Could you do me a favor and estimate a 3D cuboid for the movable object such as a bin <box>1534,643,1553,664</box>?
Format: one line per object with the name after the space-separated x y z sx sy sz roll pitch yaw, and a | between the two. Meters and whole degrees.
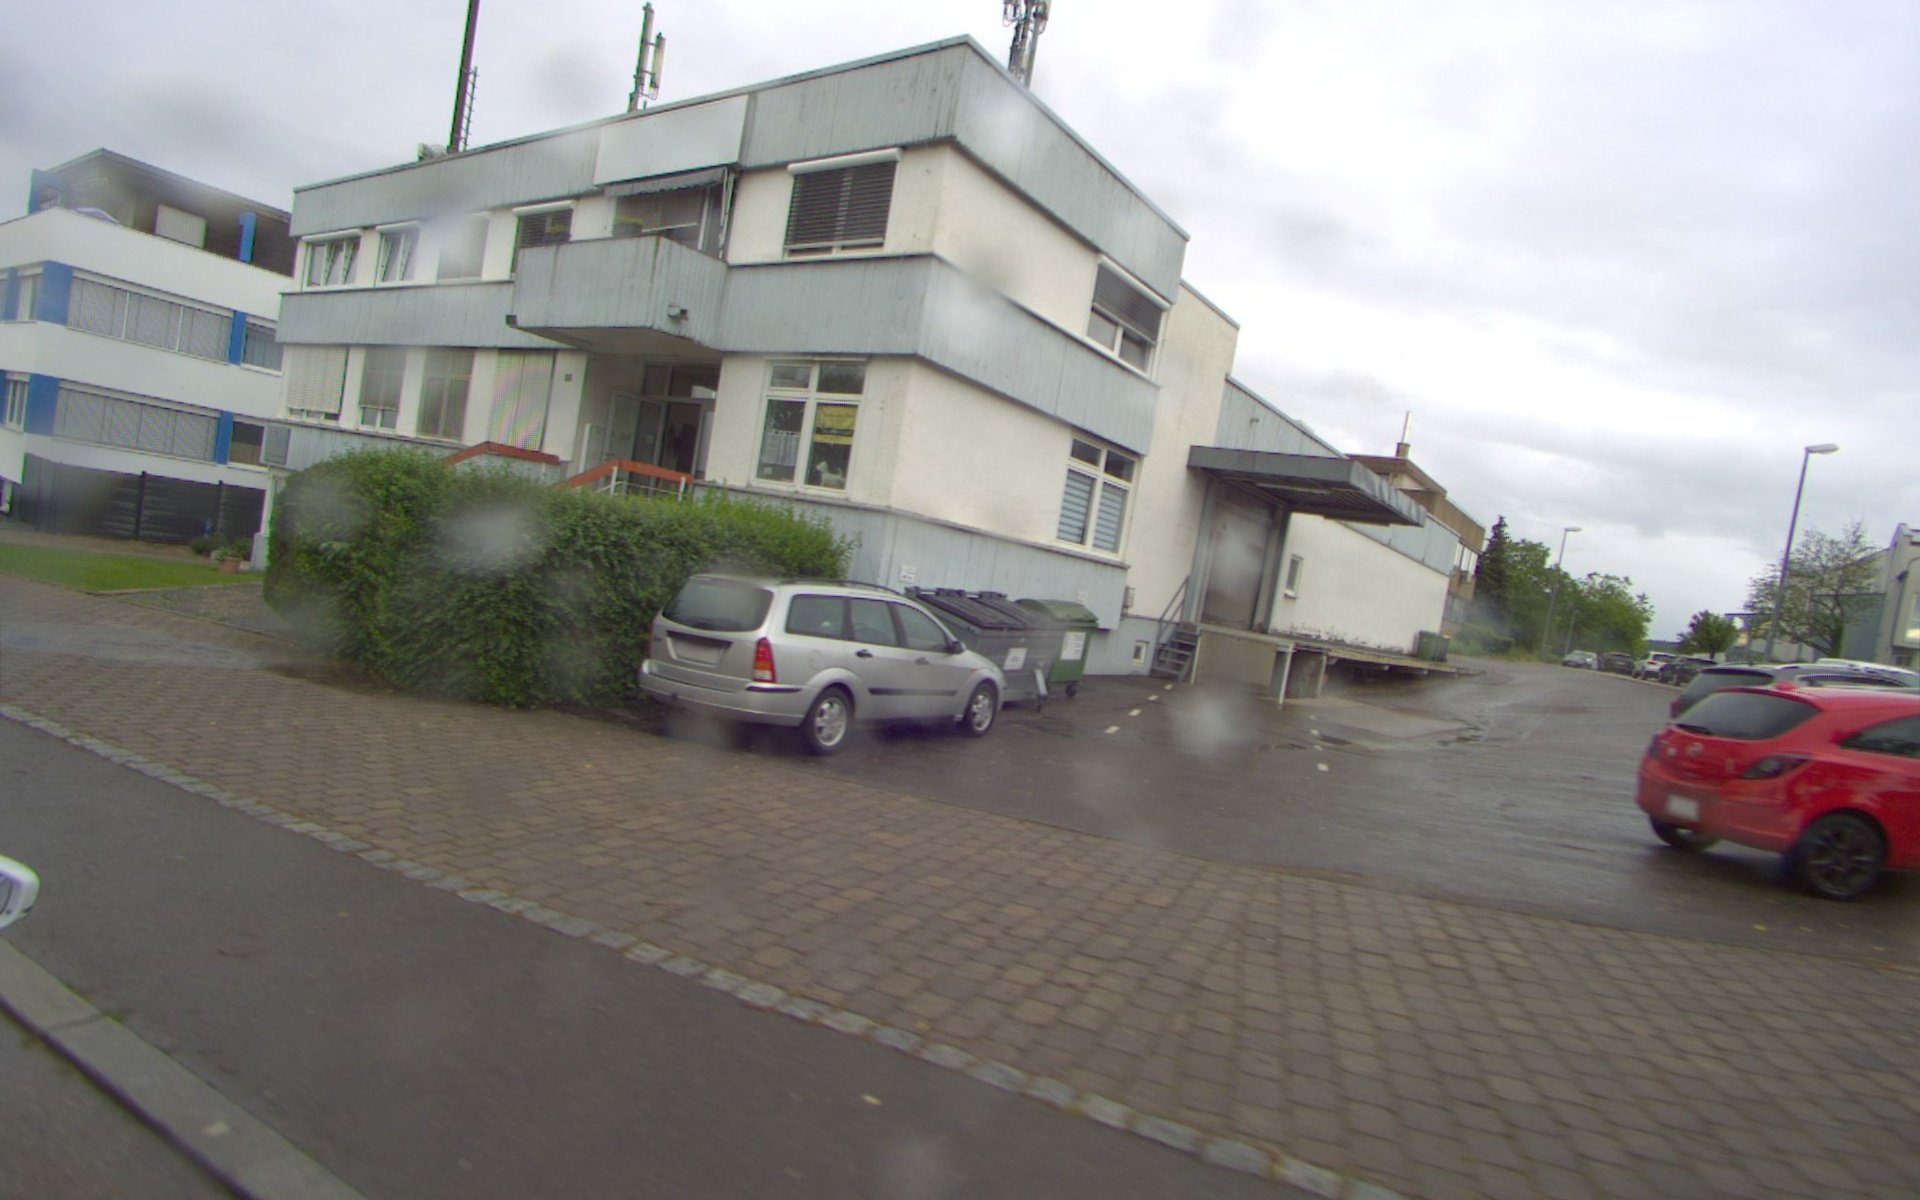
35.925 3.306 61.926 0.642 1.220 0.927 6 1 14 | movable object such as a bin

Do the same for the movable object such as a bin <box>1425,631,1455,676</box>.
18.983 2.125 39.805 0.535 1.683 1.982 7 1 37 | movable object such as a bin

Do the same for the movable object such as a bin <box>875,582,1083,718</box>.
0.295 0.653 13.676 1.706 1.523 2.264 7 2 37 | movable object such as a bin

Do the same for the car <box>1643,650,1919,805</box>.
12.348 1.779 14.060 4.378 1.820 1.858 4 -1 -5 | car

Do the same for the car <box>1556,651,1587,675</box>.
56.629 5.813 93.157 2.157 1.899 3.992 8 1 30 | car

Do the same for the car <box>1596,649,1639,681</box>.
46.643 4.634 71.418 2.157 1.899 3.992 8 1 30 | car

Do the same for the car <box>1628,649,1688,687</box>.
39.972 3.851 57.694 1.870 1.764 3.994 7 2 24 | car

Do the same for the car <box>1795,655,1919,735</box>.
26.872 2.770 29.522 1.919 1.994 4.158 9 1 17 | car

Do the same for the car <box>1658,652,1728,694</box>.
37.755 3.719 51.911 1.897 1.722 3.995 7 2 23 | car

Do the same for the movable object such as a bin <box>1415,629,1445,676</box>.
17.879 1.999 38.285 0.535 1.683 1.738 7 1 37 | movable object such as a bin

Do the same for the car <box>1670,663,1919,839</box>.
10.752 1.601 10.981 4.741 1.605 1.857 1 1 -3 | car

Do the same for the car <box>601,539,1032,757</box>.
-1.173 0.481 10.191 1.828 1.604 4.315 6 0 33 | car

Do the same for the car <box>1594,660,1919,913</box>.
7.820 1.484 8.008 4.244 1.605 1.858 4 0 1 | car

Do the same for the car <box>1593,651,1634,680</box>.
49.092 4.926 75.673 2.157 1.899 3.992 8 1 30 | car

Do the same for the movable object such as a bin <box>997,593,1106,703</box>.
1.416 0.732 15.471 1.013 1.515 1.304 7 3 37 | movable object such as a bin

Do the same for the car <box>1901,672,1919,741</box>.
25.167 2.819 24.180 1.919 1.754 4.020 9 1 16 | car
